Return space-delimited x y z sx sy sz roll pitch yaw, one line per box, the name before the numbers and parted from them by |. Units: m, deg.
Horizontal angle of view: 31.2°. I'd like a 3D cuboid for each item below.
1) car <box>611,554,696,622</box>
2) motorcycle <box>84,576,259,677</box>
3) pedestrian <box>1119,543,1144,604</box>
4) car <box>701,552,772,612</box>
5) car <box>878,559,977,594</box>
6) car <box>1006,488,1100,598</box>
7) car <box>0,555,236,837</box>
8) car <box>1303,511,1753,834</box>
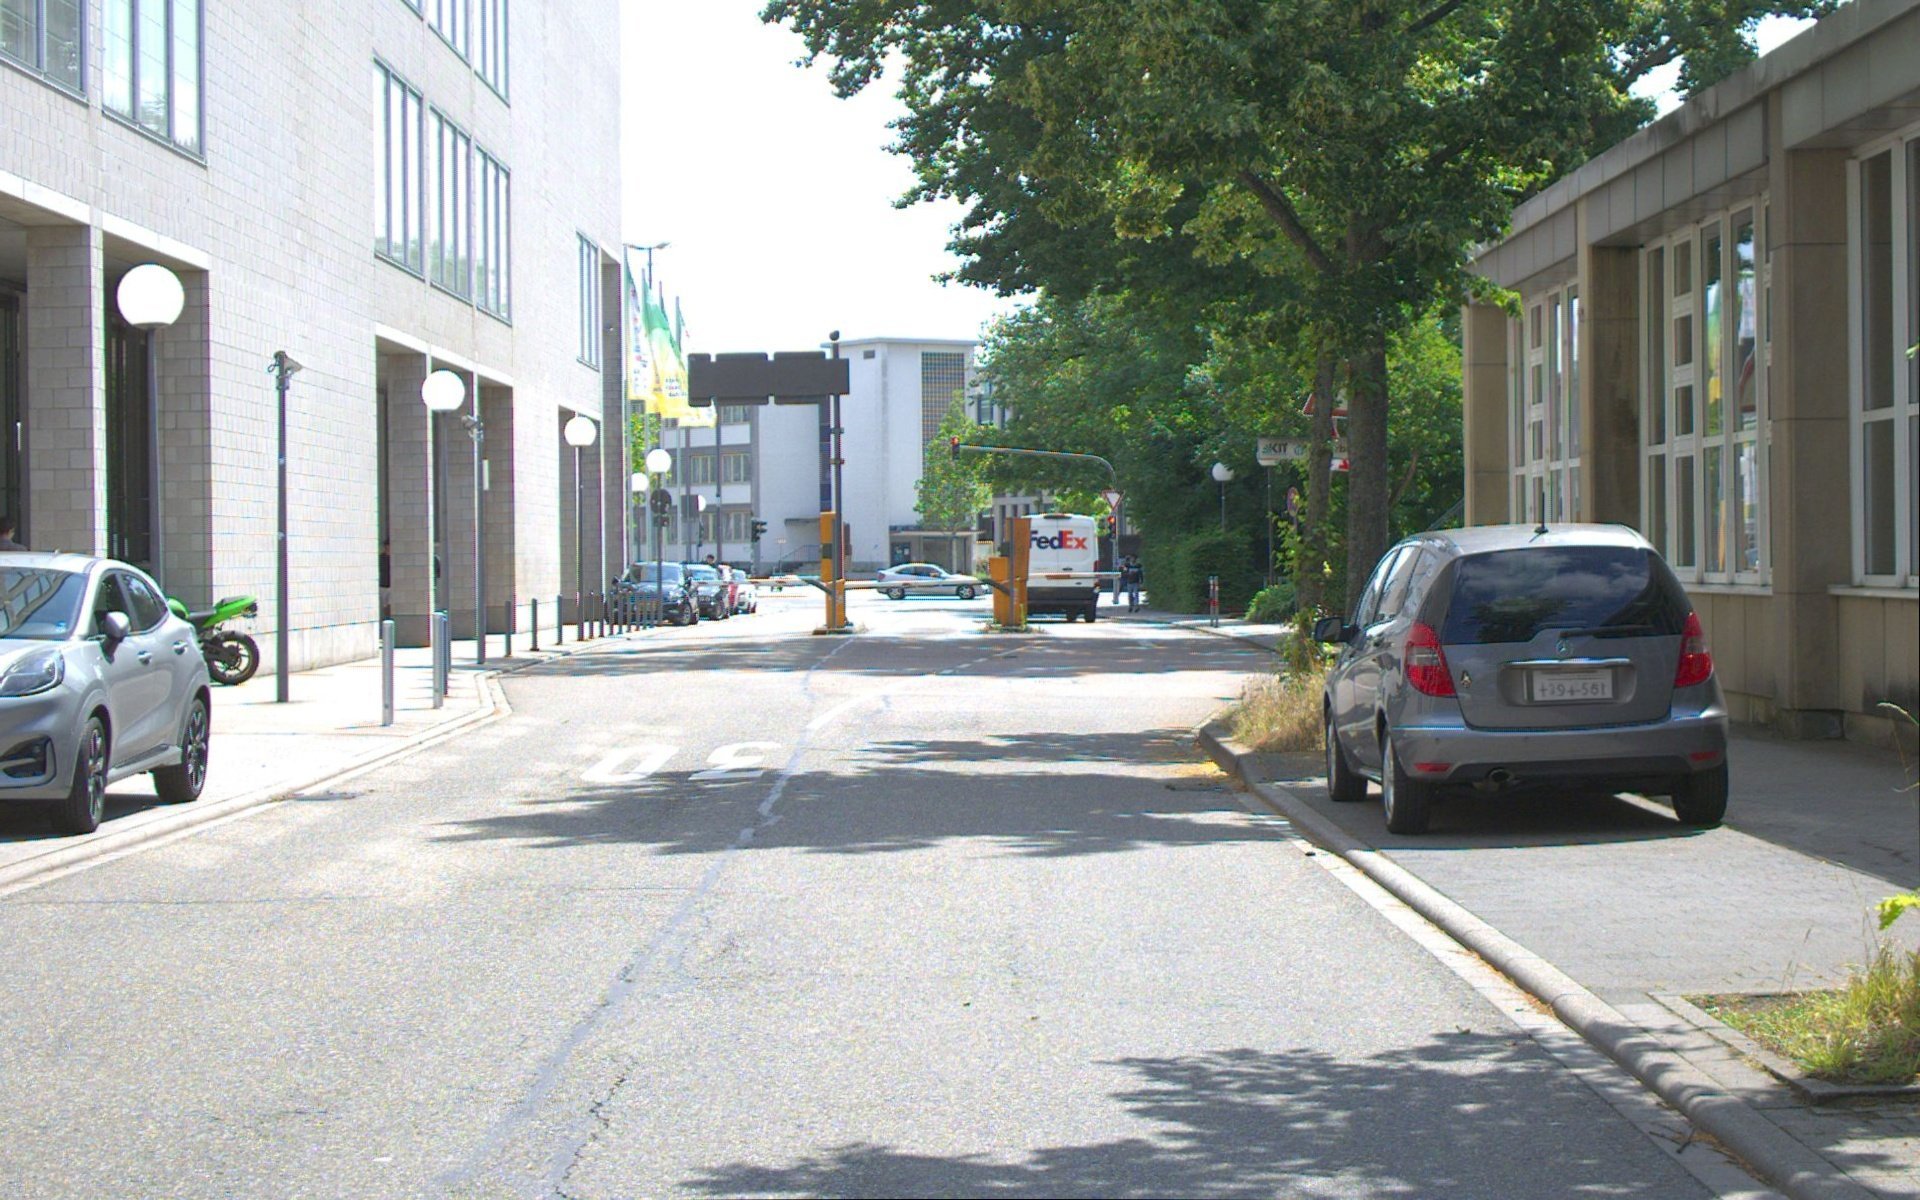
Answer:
car | -7.108 -0.262 80.022 1.646 1.493 3.728 -1 -1 0
motorcycle | -8.870 0.292 38.677 1.851 1.101 0.661 0 1 -20
pedestrian | 4.885 -0.766 97.933 0.660 1.723 0.635 0 1 -1
car | -5.951 -0.465 91.886 1.646 1.493 3.728 -1 -1 0
car | -1.241 -0.907 132.454 3.730 1.325 1.667 0 1 3
car | 2.190 -1.370 82.056 2.083 2.531 4.316 1 1 0
car | -5.512 0.480 20.129 1.631 1.479 4.178 0 1 1
car | 3.049 0.334 19.253 1.858 1.568 4.000 -2 1 1
